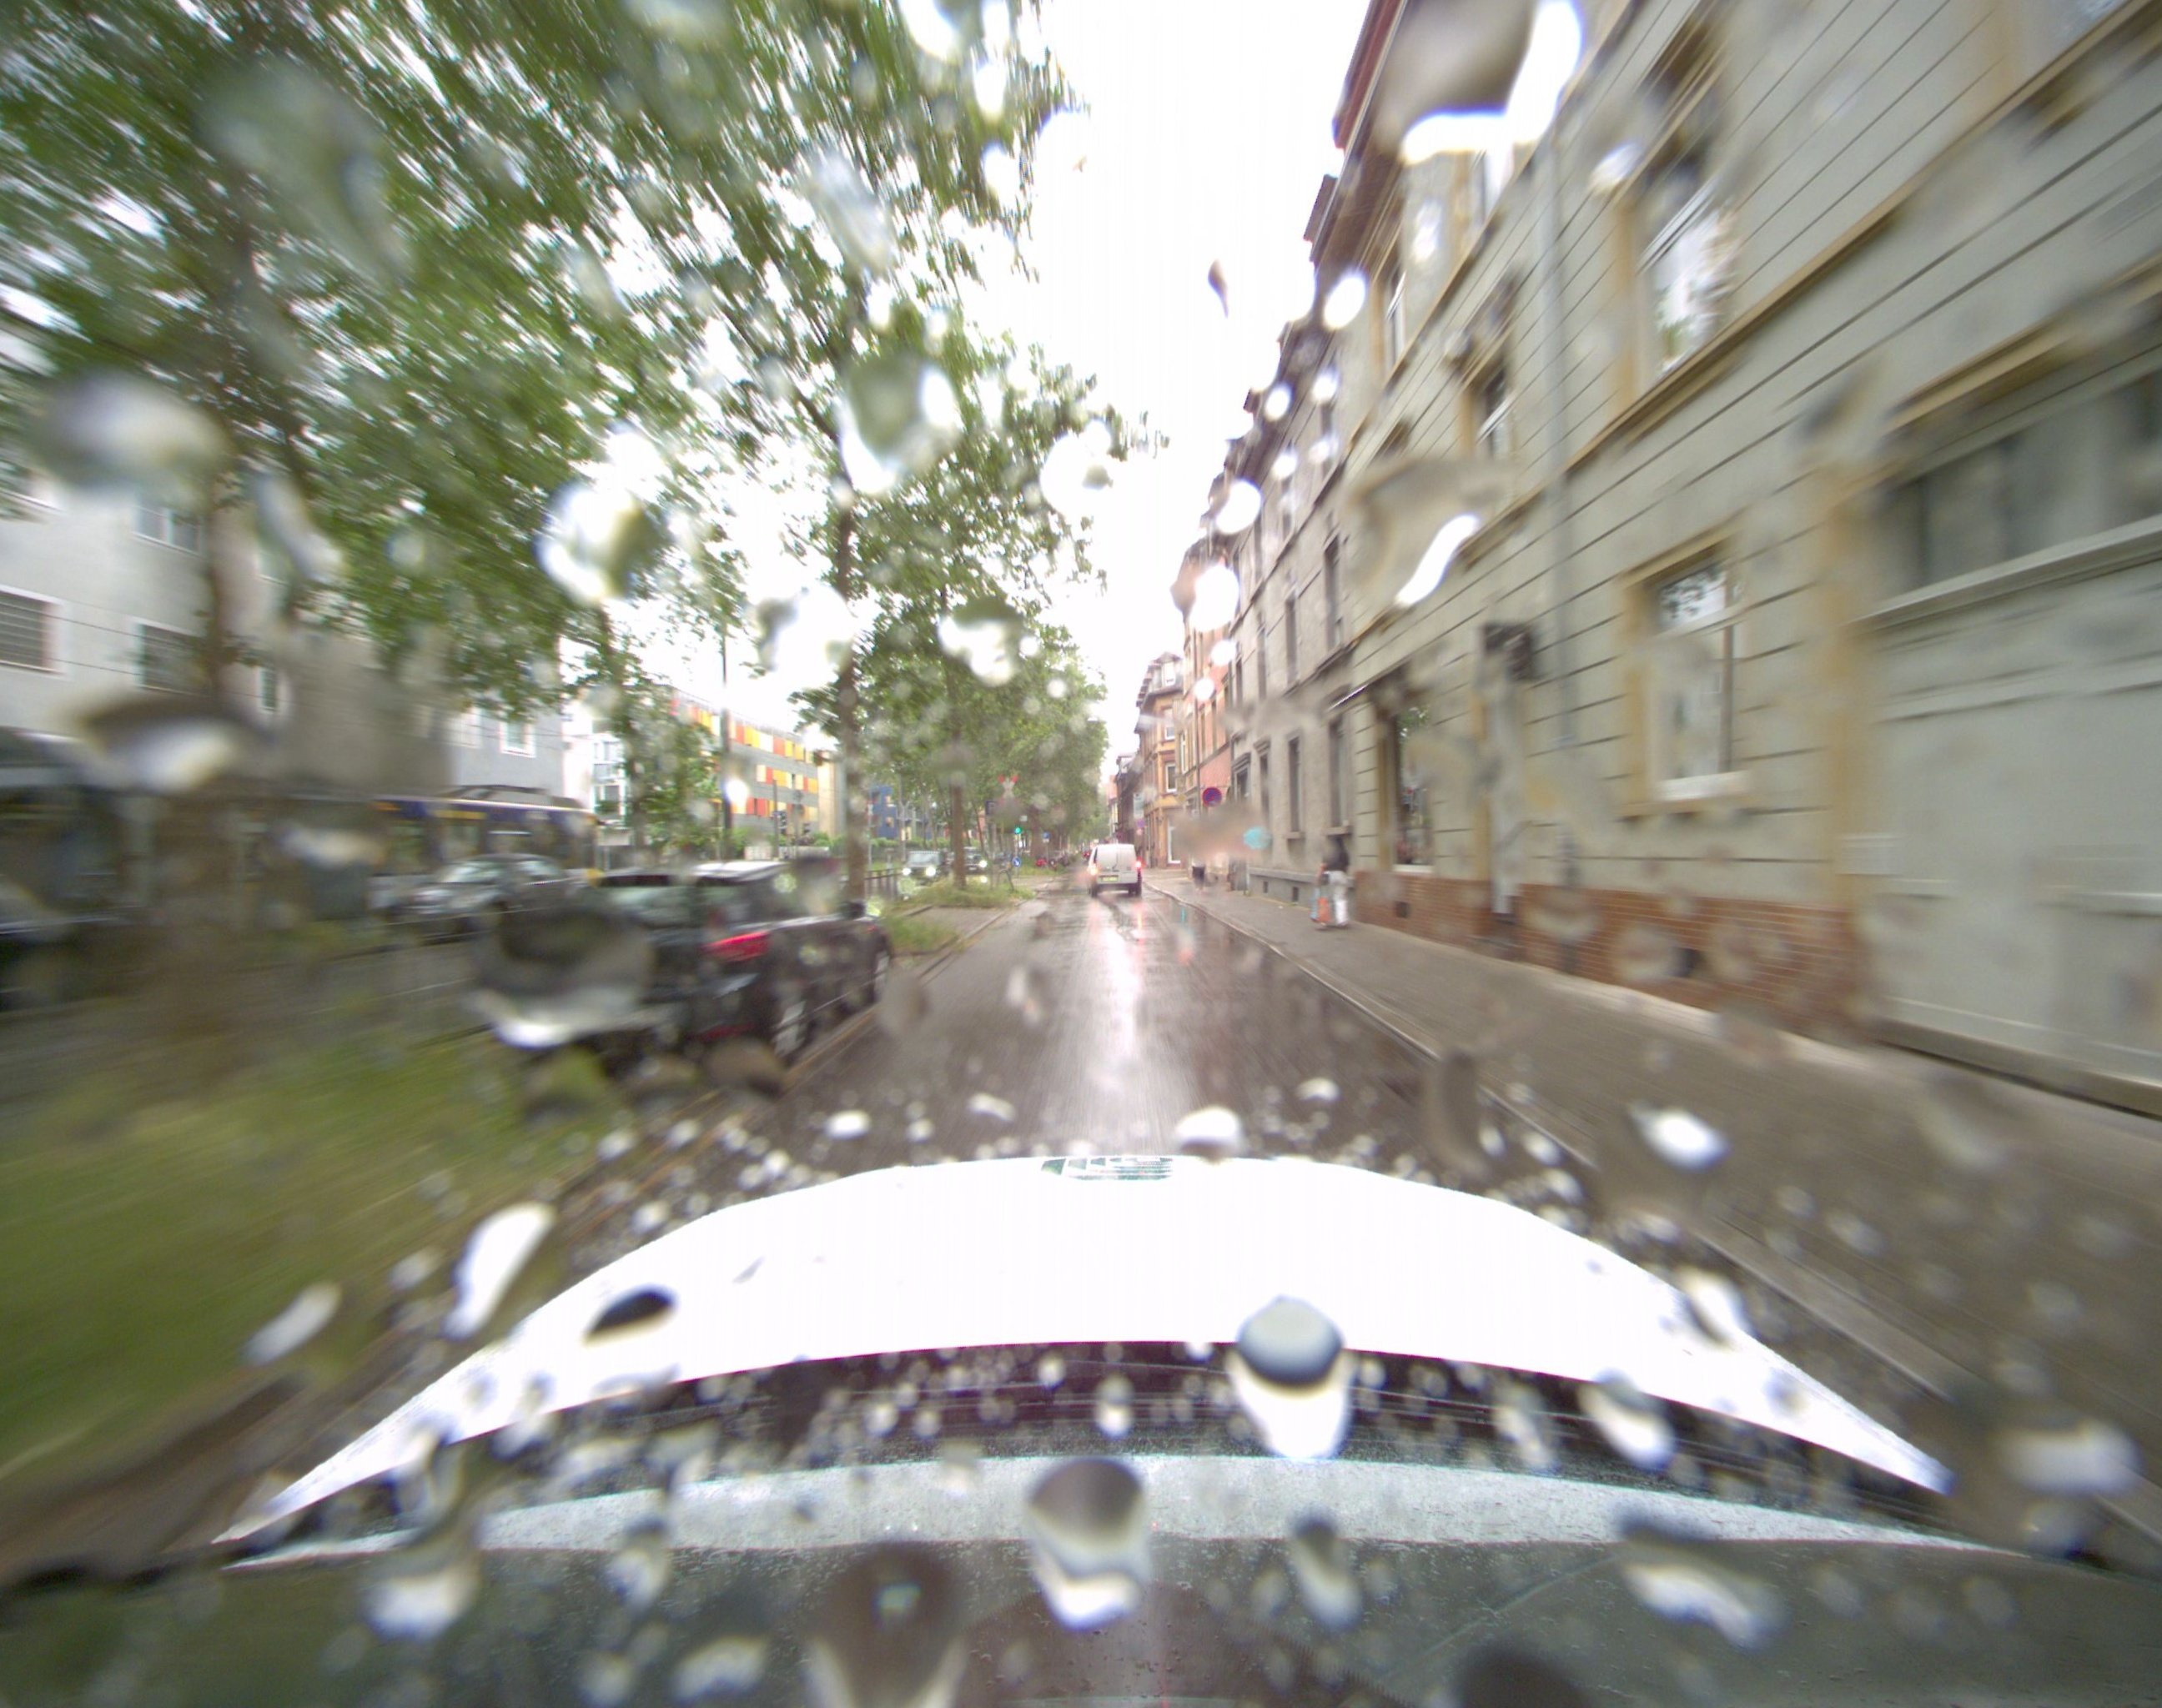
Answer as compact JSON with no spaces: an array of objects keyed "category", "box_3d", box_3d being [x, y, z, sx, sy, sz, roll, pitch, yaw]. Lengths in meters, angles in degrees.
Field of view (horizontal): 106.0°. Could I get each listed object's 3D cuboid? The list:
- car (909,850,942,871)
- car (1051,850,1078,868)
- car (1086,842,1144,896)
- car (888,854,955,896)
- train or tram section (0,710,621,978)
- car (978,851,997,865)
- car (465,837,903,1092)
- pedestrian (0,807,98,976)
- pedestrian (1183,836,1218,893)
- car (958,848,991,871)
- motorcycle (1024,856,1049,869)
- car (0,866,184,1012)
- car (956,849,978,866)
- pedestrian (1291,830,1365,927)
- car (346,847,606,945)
[{"category":"car","box_3d":[-11.483,0.462,60.342,1.991,1.415,3.991,-1,0,-6]},{"category":"car","box_3d":[-1.324,0.430,67.389,1.986,1.387,4.002,-1,0,2]},{"category":"car","box_3d":[1.193,0.536,29.432,1.897,1.797,4.114,-1,-1,1]},{"category":"car","box_3d":[-6.657,0.827,34.405,1.991,1.613,3.999,-1,0,0]},{"category":"train or tram section","box_3d":[-15.921,0.052,18.044,3.096,3.558,14.671,-2,-1,0]},{"category":"car","box_3d":[-11.195,0.438,98.079,1.993,1.613,4.119,-1,0,-3]},{"category":"car","box_3d":[-2.799,0.657,6.893,1.643,1.500,4.119,0,0,0]},{"category":"pedestrian","box_3d":[-13.195,0.447,10.149,0.865,2.013,0.821,-1,0,4]},{"category":"pedestrian","box_3d":[3.846,0.330,26.235,0.837,1.716,1.108,-5,0,1]},{"category":"car","box_3d":[-7.586,0.364,58.464,1.993,1.613,4.119,-1,0,-3]},{"category":"motorcycle","box_3d":[-3.231,0.624,58.885,1.698,0.864,0.578,-1,0,5]},{"category":"car","box_3d":[-11.311,0.841,7.573,1.733,1.343,3.755,1,0,0]},{"category":"car","box_3d":[-10.974,0.304,78.069,1.993,1.581,3.988,-1,0,-9]},{"category":"pedestrian","box_3d":[4.155,0.392,13.785,0.837,1.511,1.108,-4,0,1]},{"category":"car","box_3d":[-11.340,0.691,15.687,1.987,1.613,3.999,-1,0,0]}]
